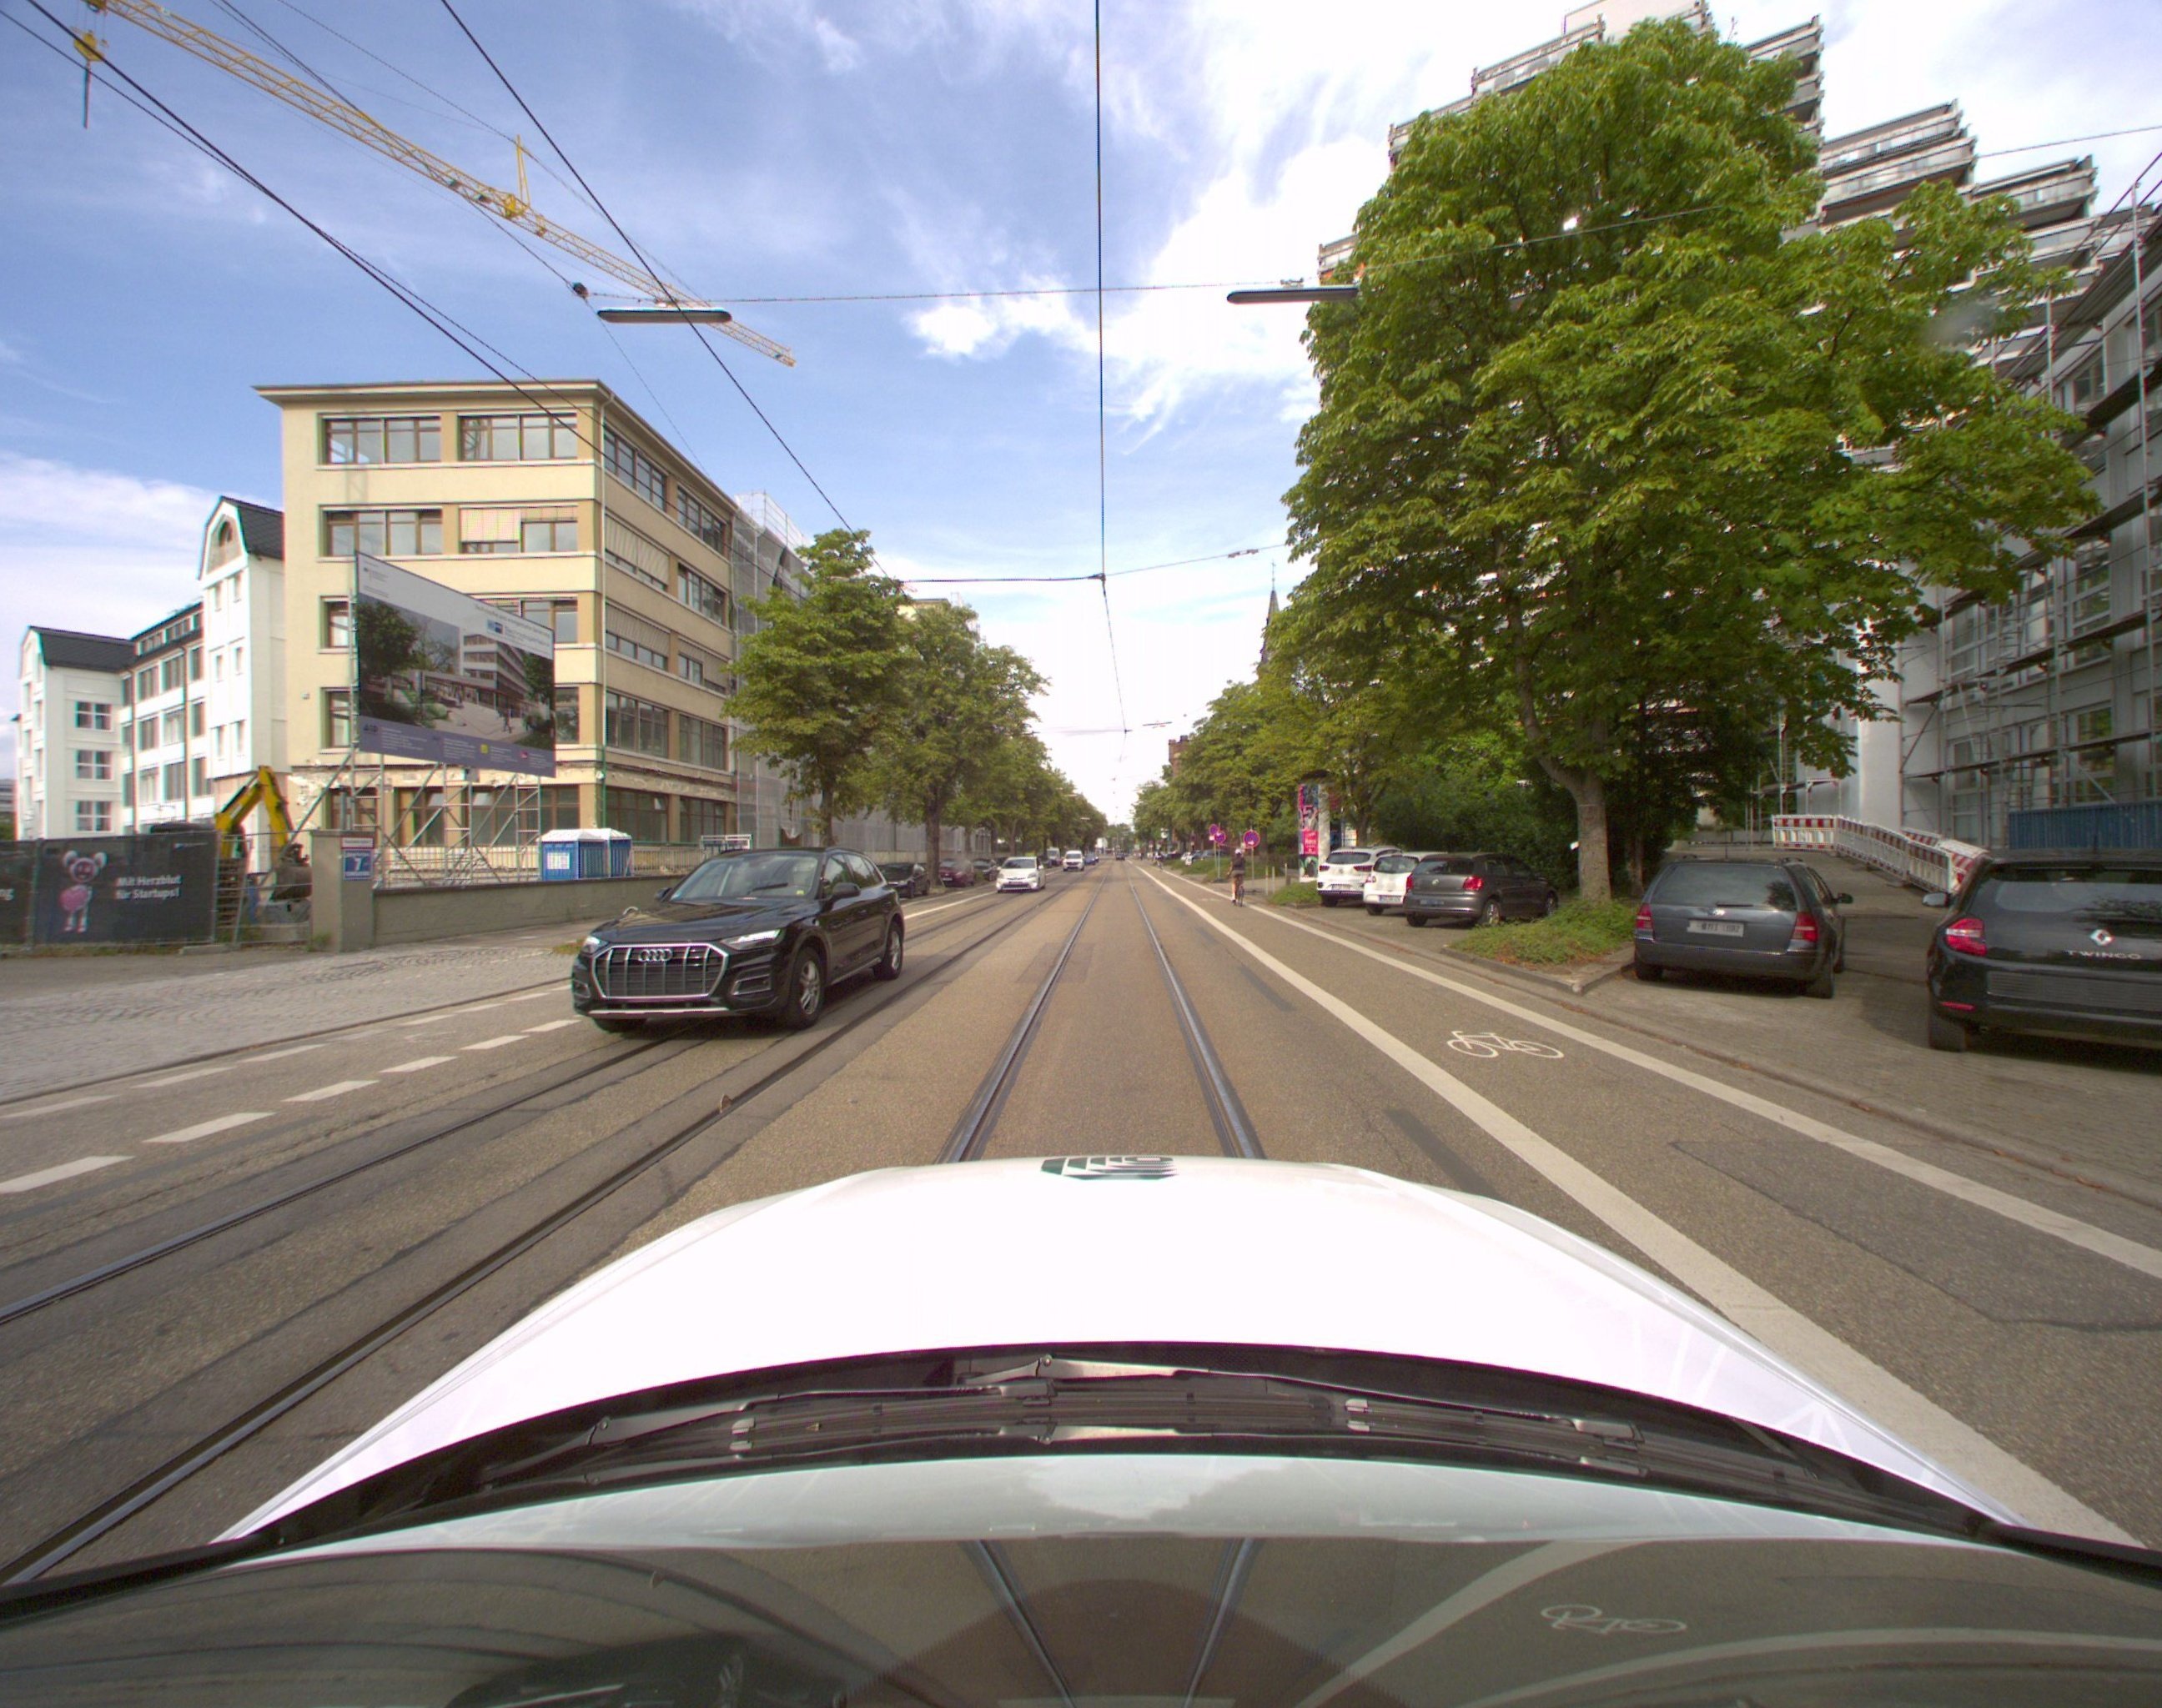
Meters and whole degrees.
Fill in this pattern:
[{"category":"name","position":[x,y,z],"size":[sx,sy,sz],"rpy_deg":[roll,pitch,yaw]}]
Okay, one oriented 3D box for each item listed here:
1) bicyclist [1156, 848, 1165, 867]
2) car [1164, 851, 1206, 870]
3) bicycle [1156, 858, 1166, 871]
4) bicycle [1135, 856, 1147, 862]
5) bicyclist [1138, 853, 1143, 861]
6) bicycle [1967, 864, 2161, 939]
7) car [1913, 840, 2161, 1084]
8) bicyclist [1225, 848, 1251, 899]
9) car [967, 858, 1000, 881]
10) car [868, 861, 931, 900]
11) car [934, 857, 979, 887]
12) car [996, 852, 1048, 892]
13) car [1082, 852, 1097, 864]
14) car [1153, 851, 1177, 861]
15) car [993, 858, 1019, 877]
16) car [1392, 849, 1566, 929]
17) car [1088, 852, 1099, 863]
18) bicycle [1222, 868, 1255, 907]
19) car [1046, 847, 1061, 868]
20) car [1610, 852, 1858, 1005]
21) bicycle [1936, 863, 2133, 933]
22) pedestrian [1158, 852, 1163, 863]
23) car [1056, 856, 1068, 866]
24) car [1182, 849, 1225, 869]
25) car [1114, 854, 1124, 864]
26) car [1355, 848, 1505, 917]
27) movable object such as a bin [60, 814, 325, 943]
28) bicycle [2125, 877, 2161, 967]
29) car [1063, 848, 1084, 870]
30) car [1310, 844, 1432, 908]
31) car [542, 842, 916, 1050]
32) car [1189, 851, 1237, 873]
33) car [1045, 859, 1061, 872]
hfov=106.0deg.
[{"category":"bicyclist","position":[6.446,0.282,65.796],"size":[0.656,1.496,0.930],"rpy_deg":[-1,0,3]},{"category":"car","position":[9.010,0.525,70.493],"size":[3.667,1.602,1.661],"rpy_deg":[0,-1,-43]},{"category":"bicycle","position":[6.446,0.826,65.790],"size":[0.661,1.043,1.842],"rpy_deg":[-1,0,3]},{"category":"bicycle","position":[12.273,1.008,166.873],"size":[2.260,1.189,0.771],"rpy_deg":[-1,0,10]},{"category":"bicyclist","position":[12.248,0.616,166.877],"size":[0.841,1.504,0.771],"rpy_deg":[-1,0,10]},{"category":"bicycle","position":[14.754,0.678,12.164],"size":[1.952,1.043,0.598],"rpy_deg":[-1,0,30]},{"category":"car","position":[7.891,0.664,6.491],"size":[3.436,1.537,1.577],"rpy_deg":[-1,0,-41]},{"category":"bicyclist","position":[4.580,0.551,23.787],"size":[0.591,1.459,0.875],"rpy_deg":[-1,0,0]},{"category":"car","position":[-6.232,0.952,52.418],"size":[1.585,1.402,3.962],"rpy_deg":[0,0,0]},{"category":"car","position":[-7.168,1.017,32.566],"size":[1.585,1.402,3.962],"rpy_deg":[0,0,0]},{"category":"car","position":[-6.548,0.943,43.218],"size":[1.629,1.496,3.964],"rpy_deg":[0,0,2]},{"category":"car","position":[-2.476,0.720,35.186],"size":[1.725,1.612,4.337],"rpy_deg":[-1,0,2]},{"category":"car","position":[1.120,0.453,107.315],"size":[1.725,1.496,4.381],"rpy_deg":[-1,0,2]},{"category":"car","position":[14.862,0.391,144.625],"size":[3.978,1.693,1.998],"rpy_deg":[-1,0,-3]},{"category":"car","position":[-5.776,0.993,62.727],"size":[1.585,1.402,3.962],"rpy_deg":[0,0,0]},{"category":"car","position":[8.028,0.637,16.343],"size":[3.663,1.419,1.663],"rpy_deg":[0,-1,-37]},{"category":"car","position":[2.034,0.575,131.698],"size":[1.726,1.628,4.380],"rpy_deg":[-2,0,2]},{"category":"bicycle","position":[4.580,0.954,23.784],"size":[0.591,1.043,1.978],"rpy_deg":[-1,0,0]},{"category":"car","position":[-3.582,0.421,106.778],"size":[1.715,2.704,5.470],"rpy_deg":[0,0,0]},{"category":"car","position":[7.887,0.700,9.679],"size":[4.194,1.415,1.794],"rpy_deg":[0,-1,-45]},{"category":"bicycle","position":[15.120,0.664,12.998],"size":[1.952,1.043,0.598],"rpy_deg":[0,0,39]},{"category":"pedestrian","position":[14.150,0.609,144.310],"size":[0.742,1.790,0.734],"rpy_deg":[-1,-1,17]},{"category":"car","position":[-2.814,0.959,119.247],"size":[1.585,1.402,3.962],"rpy_deg":[0,0,0]},{"category":"car","position":[10.319,0.423,68.313],"size":[3.667,1.602,1.661],"rpy_deg":[0,-1,-43]},{"category":"car","position":[7.333,0.915,157.899],"size":[1.788,1.824,4.680],"rpy_deg":[0,0,2]},{"category":"car","position":[8.299,0.621,19.266],"size":[3.663,1.474,1.663],"rpy_deg":[0,-1,-37]},{"category":"movable object such as a bin","position":[-18.348,0.493,16.962],"size":[3.030,2.443,2.506],"rpy_deg":[-1,-1,12]},{"category":"bicycle","position":[13.619,0.790,9.426],"size":[1.817,1.043,0.456],"rpy_deg":[-2,-1,31]},{"category":"car","position":[-0.623,0.435,71.351],"size":[1.726,1.884,4.379],"rpy_deg":[-1,0,1]},{"category":"car","position":[8.055,0.559,22.491],"size":[3.667,1.602,1.661],"rpy_deg":[0,-1,-43]},{"category":"car","position":[-3.186,0.714,8.511],"size":[1.840,1.612,4.337],"rpy_deg":[-1,0,3]},{"category":"car","position":[10.001,0.593,61.516],"size":[3.667,1.602,1.661],"rpy_deg":[0,-1,-43]},{"category":"car","position":[-3.172,1.269,93.396],"size":[1.585,1.402,3.962],"rpy_deg":[0,0,0]}]
